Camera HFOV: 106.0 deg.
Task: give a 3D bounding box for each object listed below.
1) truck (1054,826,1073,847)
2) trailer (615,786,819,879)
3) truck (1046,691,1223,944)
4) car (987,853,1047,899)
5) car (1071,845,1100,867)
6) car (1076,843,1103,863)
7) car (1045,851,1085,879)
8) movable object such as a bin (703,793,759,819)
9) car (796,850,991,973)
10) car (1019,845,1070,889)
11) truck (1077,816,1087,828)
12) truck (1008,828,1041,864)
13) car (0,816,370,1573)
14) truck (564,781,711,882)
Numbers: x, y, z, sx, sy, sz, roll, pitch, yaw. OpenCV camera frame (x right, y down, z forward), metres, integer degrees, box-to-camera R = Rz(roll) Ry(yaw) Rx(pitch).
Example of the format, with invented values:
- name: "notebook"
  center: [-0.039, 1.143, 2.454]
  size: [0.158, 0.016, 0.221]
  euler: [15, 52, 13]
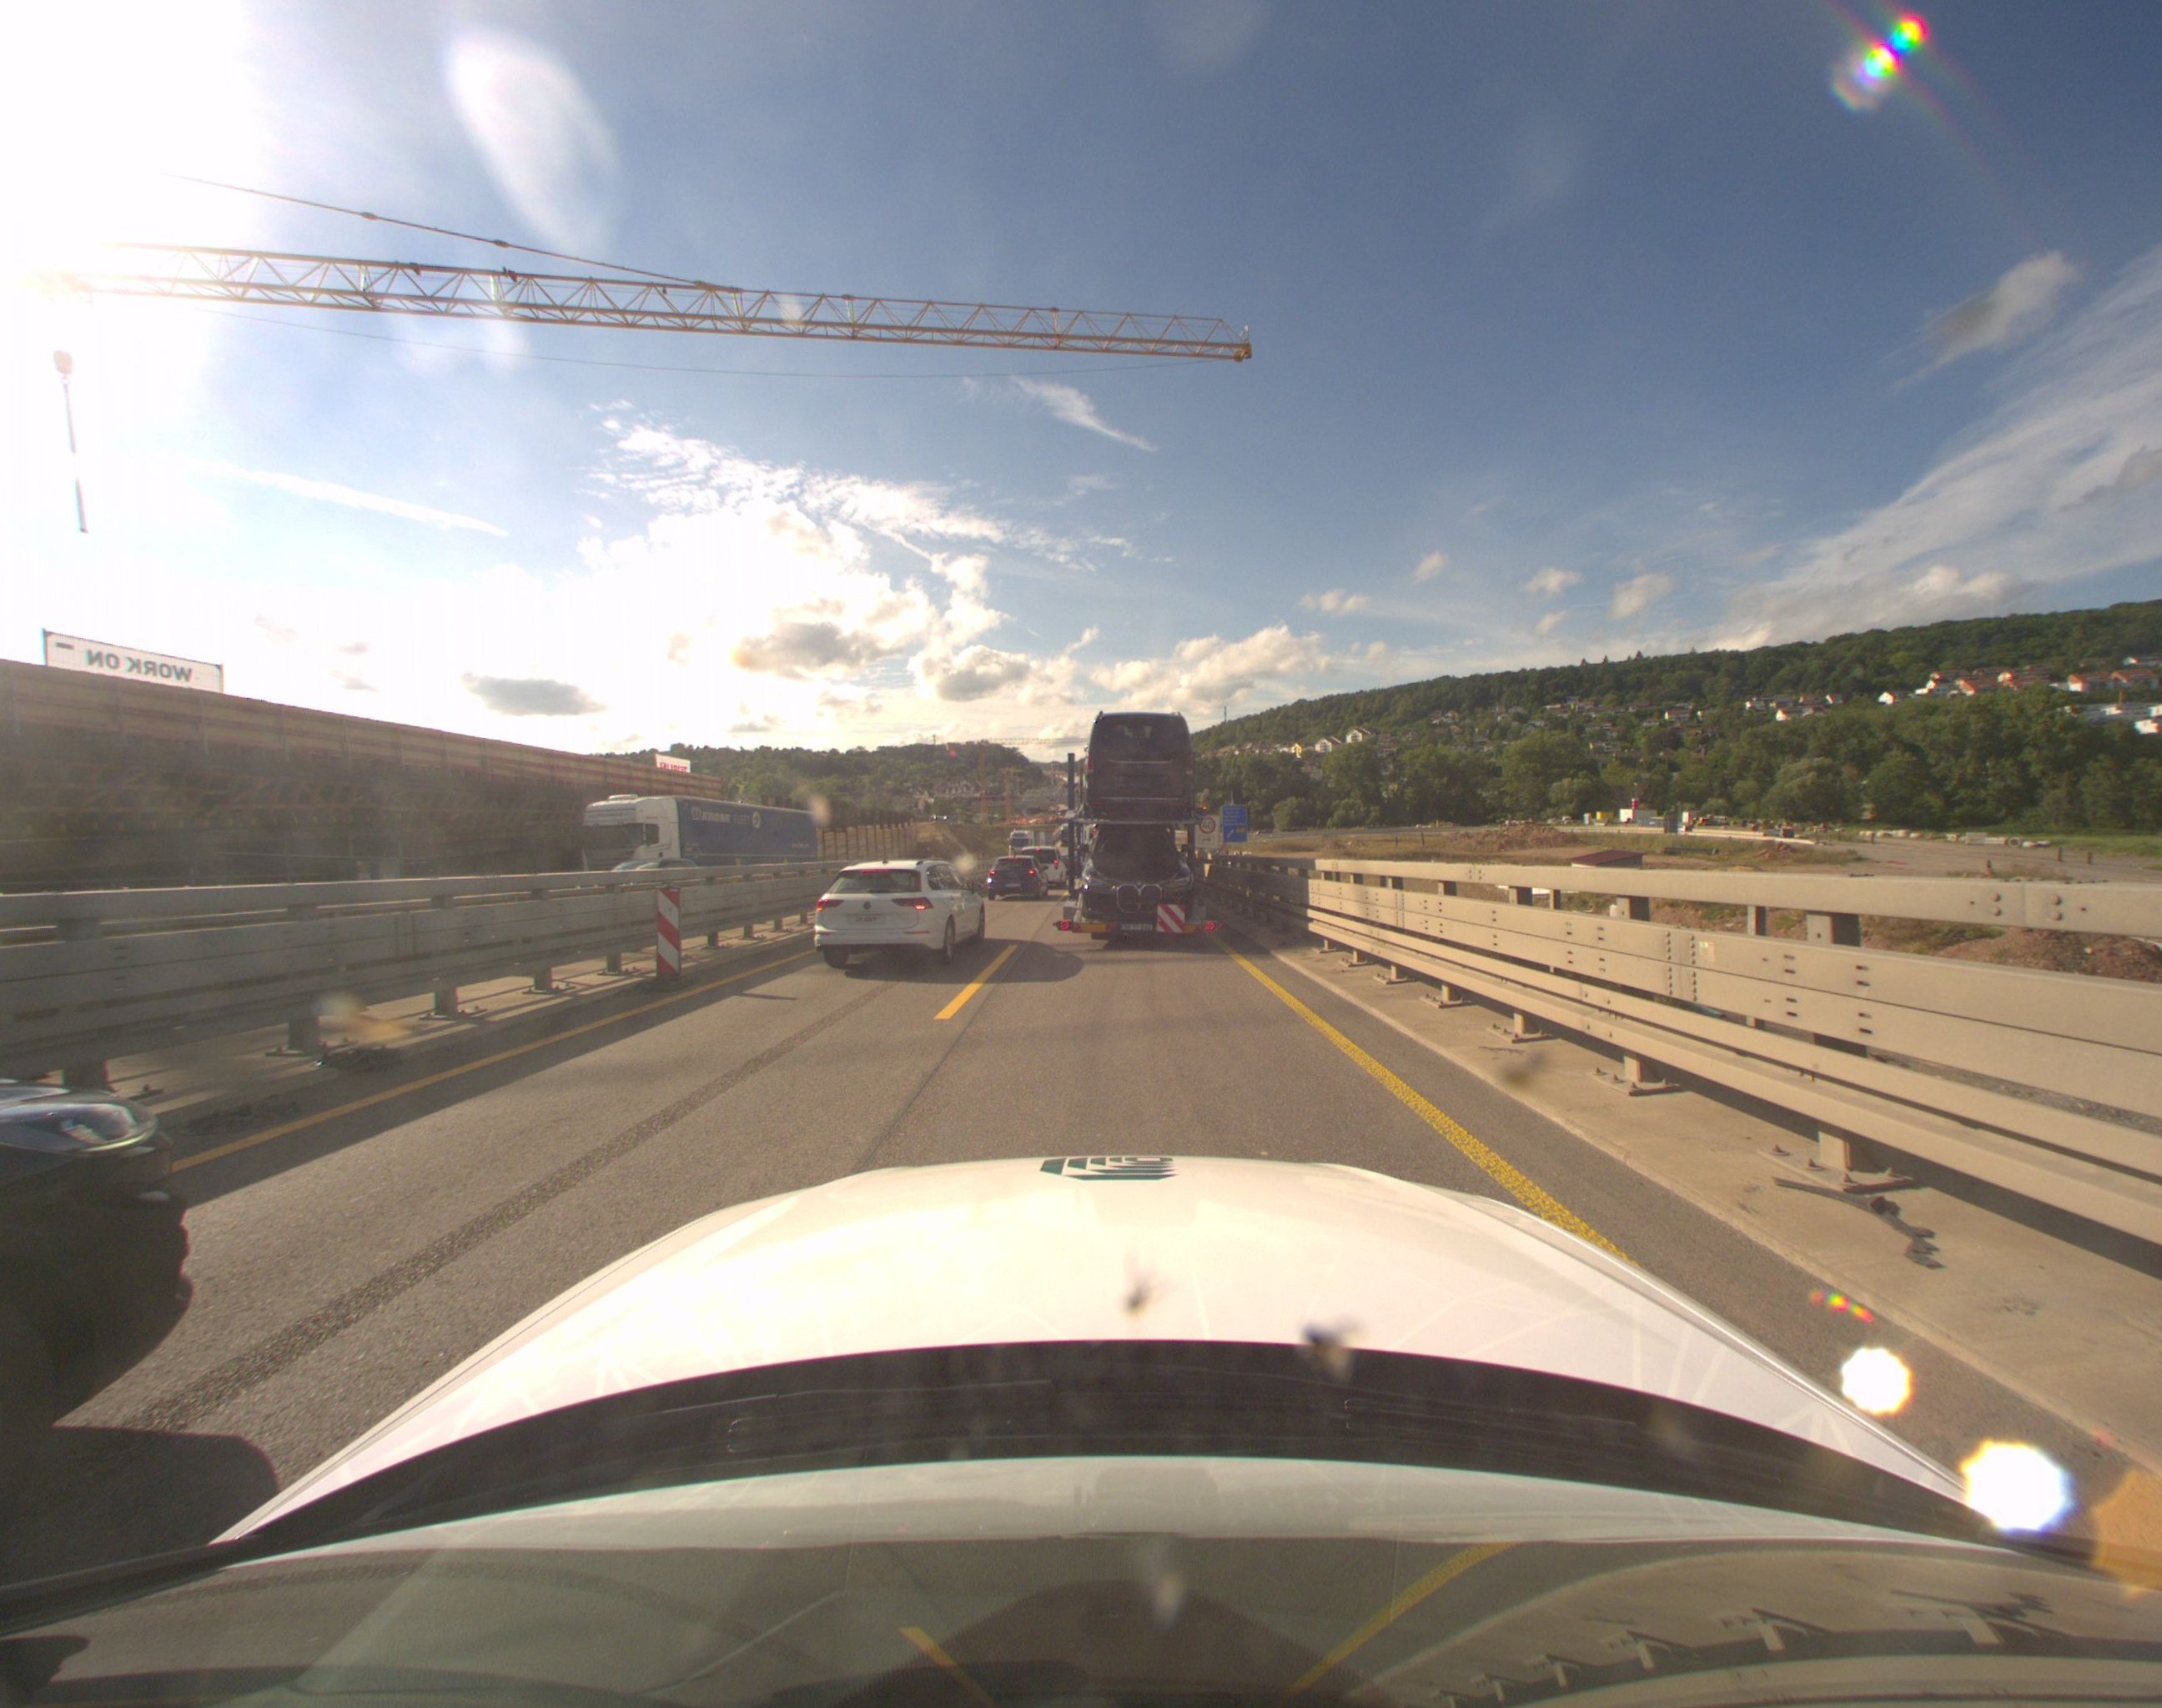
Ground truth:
- name: "truck"
  center: [-3.378, -3.410, 158.934]
  size: [2.777, 3.788, 5.996]
  euler: [0, -1, -10]
- name: "trailer"
  center: [-16.539, -0.791, 38.871]
  size: [2.850, 3.667, 13.541]
  euler: [0, 0, 4]
- name: "truck"
  center: [1.202, -0.508, 22.252]
  size: [2.742, 3.955, 18.898]
  euler: [1, 0, 2]
- name: "car"
  center: [-2.090, 0.711, 27.607]
  size: [1.716, 1.422, 3.999]
  euler: [-1, -1, 0]
- name: "car"
  center: [0.367, 0.180, 60.603]
  size: [1.985, 1.552, 4.003]
  euler: [0, -1, 3]
- name: "car"
  center: [0.717, -0.049, 67.538]
  size: [1.985, 1.552, 4.004]
  euler: [0, -1, 4]
- name: "car"
  center: [-0.894, 0.629, 48.558]
  size: [1.985, 1.556, 4.405]
  euler: [0, -1, 3]
- name: "movable object such as a bin"
  center: [-49.152, -6.650, 114.462]
  size: [5.705, 3.270, 4.527]
  euler: [-1, -1, 14]
- name: "car"
  center: [-2.620, 0.755, 12.532]
  size: [1.763, 1.491, 4.518]
  euler: [-2, -1, 2]
- name: "car"
  center: [-1.554, 0.553, 35.900]
  size: [1.815, 1.792, 4.004]
  euler: [0, -1, 4]
- name: "truck"
  center: [0.385, -9.782, 251.125]
  size: [2.690, 3.311, 7.542]
  euler: [0, -1, 3]
- name: "truck"
  center: [-6.671, -0.902, 96.876]
  size: [2.696, 4.137, 5.985]
  euler: [-1, -1, 9]
- name: "car"
  center: [-3.132, 0.656, 0.264]
  size: [1.793, 1.542, 4.386]
  euler: [1, -1, 2]
- name: "truck"
  center: [-17.041, -0.781, 31.651]
  size: [2.829, 3.628, 4.815]
  euler: [0, -1, 4]
